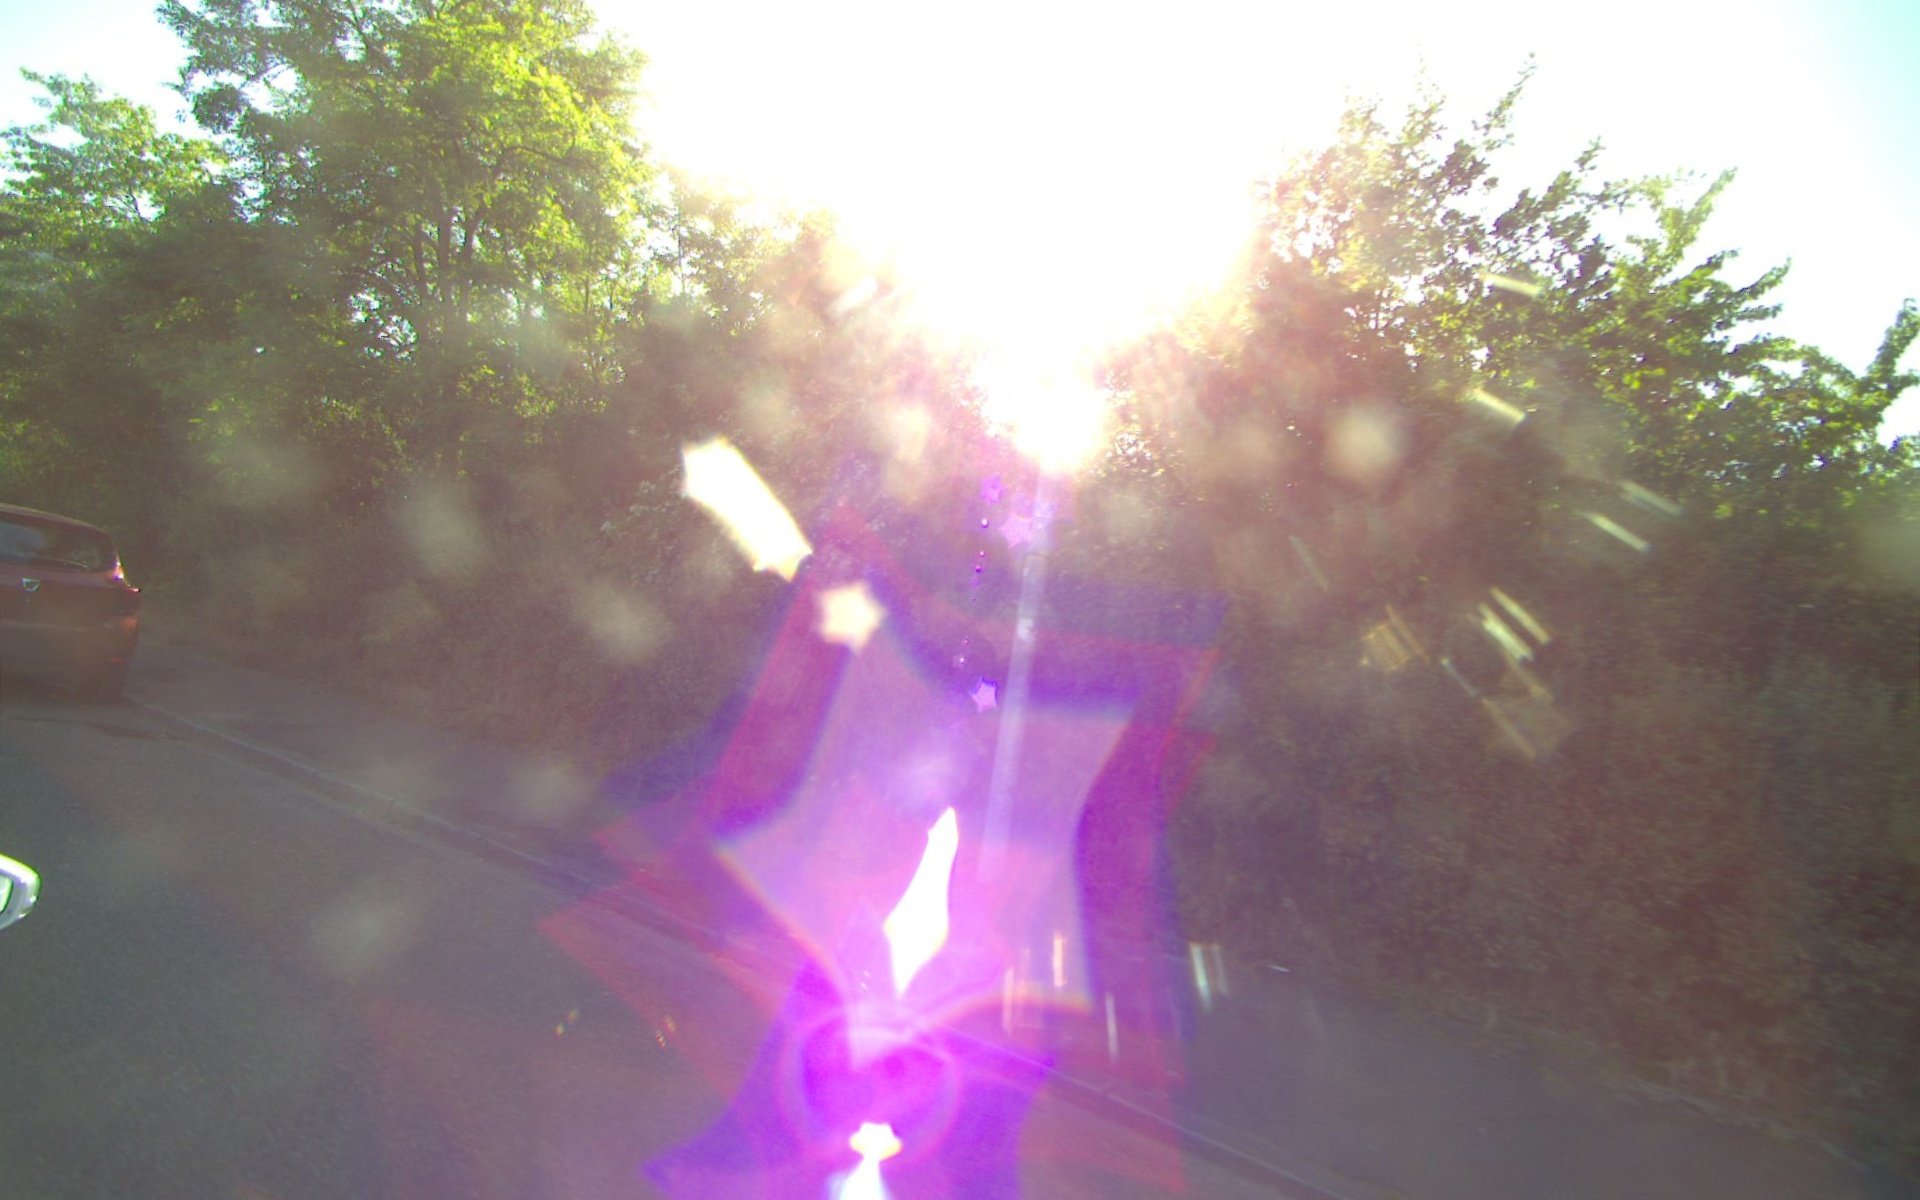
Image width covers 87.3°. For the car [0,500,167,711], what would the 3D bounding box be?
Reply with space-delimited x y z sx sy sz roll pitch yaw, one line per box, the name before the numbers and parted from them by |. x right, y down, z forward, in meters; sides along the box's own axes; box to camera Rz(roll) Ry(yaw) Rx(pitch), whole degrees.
car | -8.684 -0.161 8.579 3.775 1.501 1.660 7 -4 32
